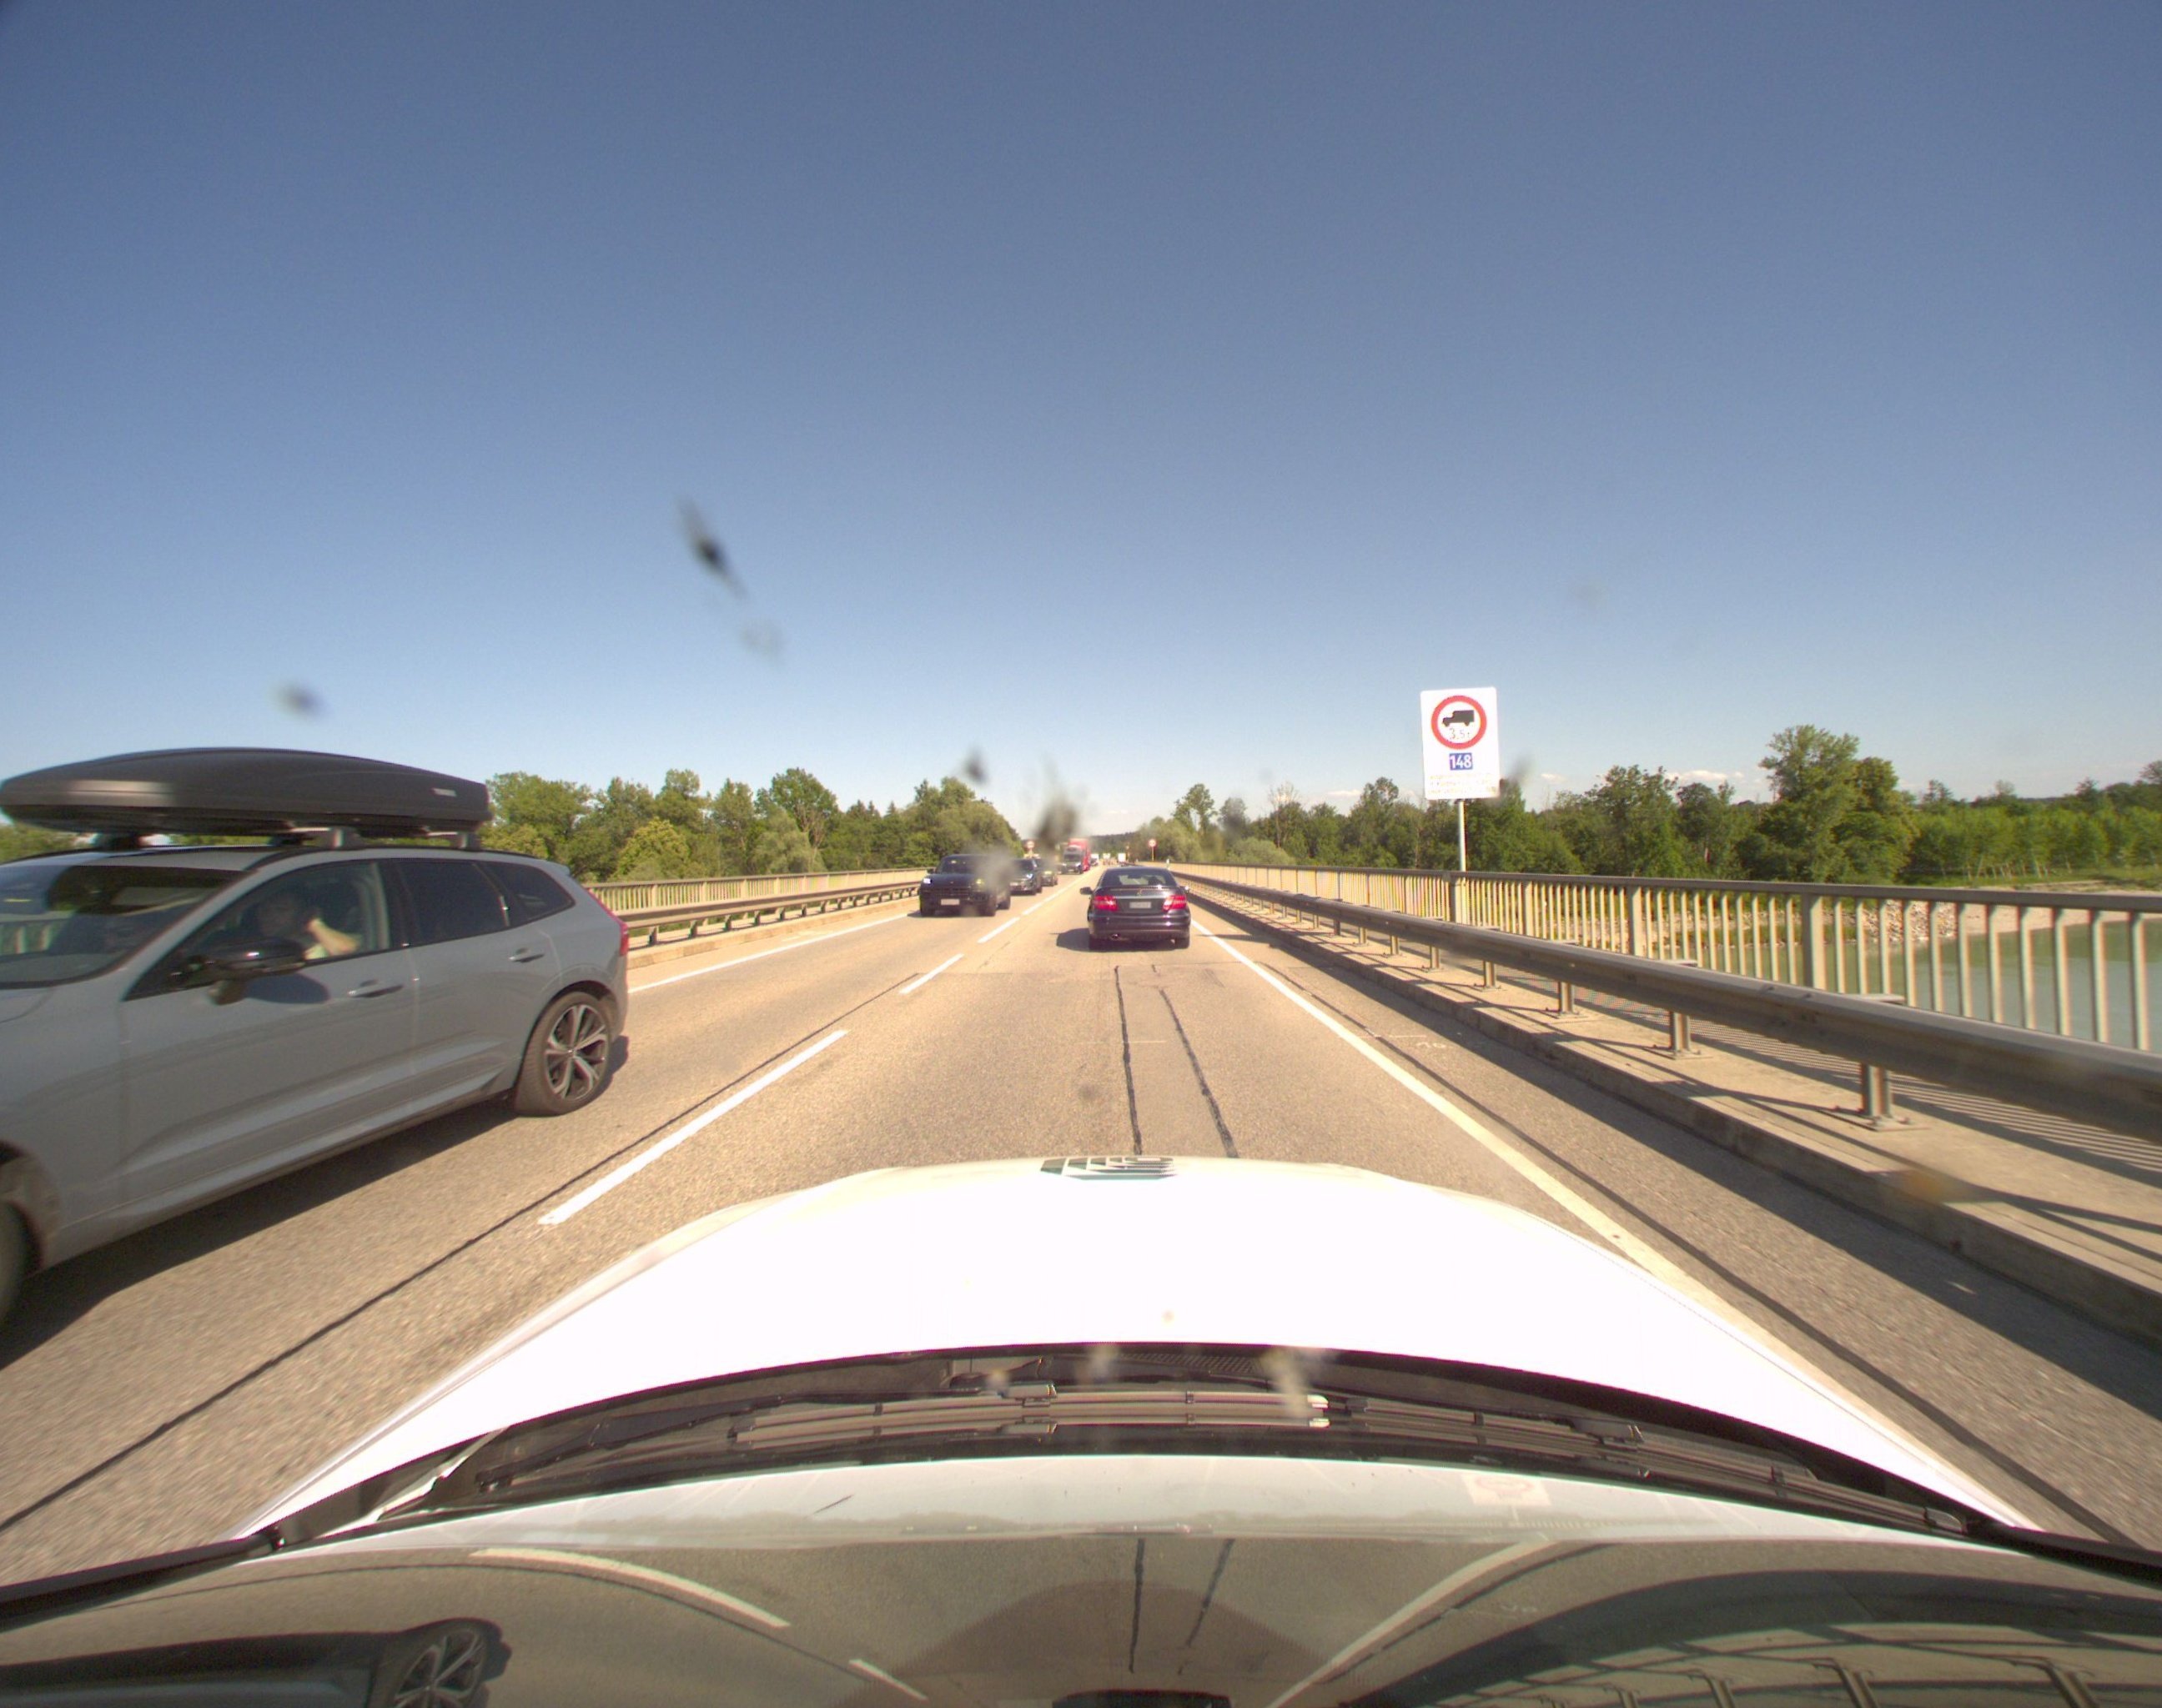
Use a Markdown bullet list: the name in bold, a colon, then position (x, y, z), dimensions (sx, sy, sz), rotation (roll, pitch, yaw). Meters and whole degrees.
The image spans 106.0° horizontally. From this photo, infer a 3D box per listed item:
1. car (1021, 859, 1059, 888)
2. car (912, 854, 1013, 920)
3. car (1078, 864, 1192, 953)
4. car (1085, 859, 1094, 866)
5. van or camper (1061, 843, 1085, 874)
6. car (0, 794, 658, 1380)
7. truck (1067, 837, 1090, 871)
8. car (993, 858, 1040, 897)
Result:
- **car**: position (-2.325, 1.089, 47.122), dimensions (1.867, 1.584, 4.275), rotation (0, 0, 2)
- **car**: position (-3.243, 0.892, 23.309), dimensions (2.046, 1.653, 4.723), rotation (1, -1, 2)
- **car**: position (0.956, 0.887, 14.799), dimensions (1.786, 1.376, 4.003), rotation (0, 0, 3)
- **car**: position (1.979, 1.915, 184.420), dimensions (1.836, 1.642, 4.574), rotation (-1, -1, -1)
- **van or camper**: position (-0.757, 0.444, 82.742), dimensions (2.307, 3.051, 6.818), rotation (0, 0, 1)
- **car**: position (-4.067, 0.699, 3.653), dimensions (1.847, 1.722, 4.567), rotation (0, 0, 1)
- **truck**: position (-0.374, 0.055, 103.569), dimensions (2.899, 4.184, 5.710), rotation (0, 0, -1)
- **car**: position (-2.761, 0.970, 35.616), dimensions (1.801, 1.577, 4.198), rotation (0, 0, -2)
